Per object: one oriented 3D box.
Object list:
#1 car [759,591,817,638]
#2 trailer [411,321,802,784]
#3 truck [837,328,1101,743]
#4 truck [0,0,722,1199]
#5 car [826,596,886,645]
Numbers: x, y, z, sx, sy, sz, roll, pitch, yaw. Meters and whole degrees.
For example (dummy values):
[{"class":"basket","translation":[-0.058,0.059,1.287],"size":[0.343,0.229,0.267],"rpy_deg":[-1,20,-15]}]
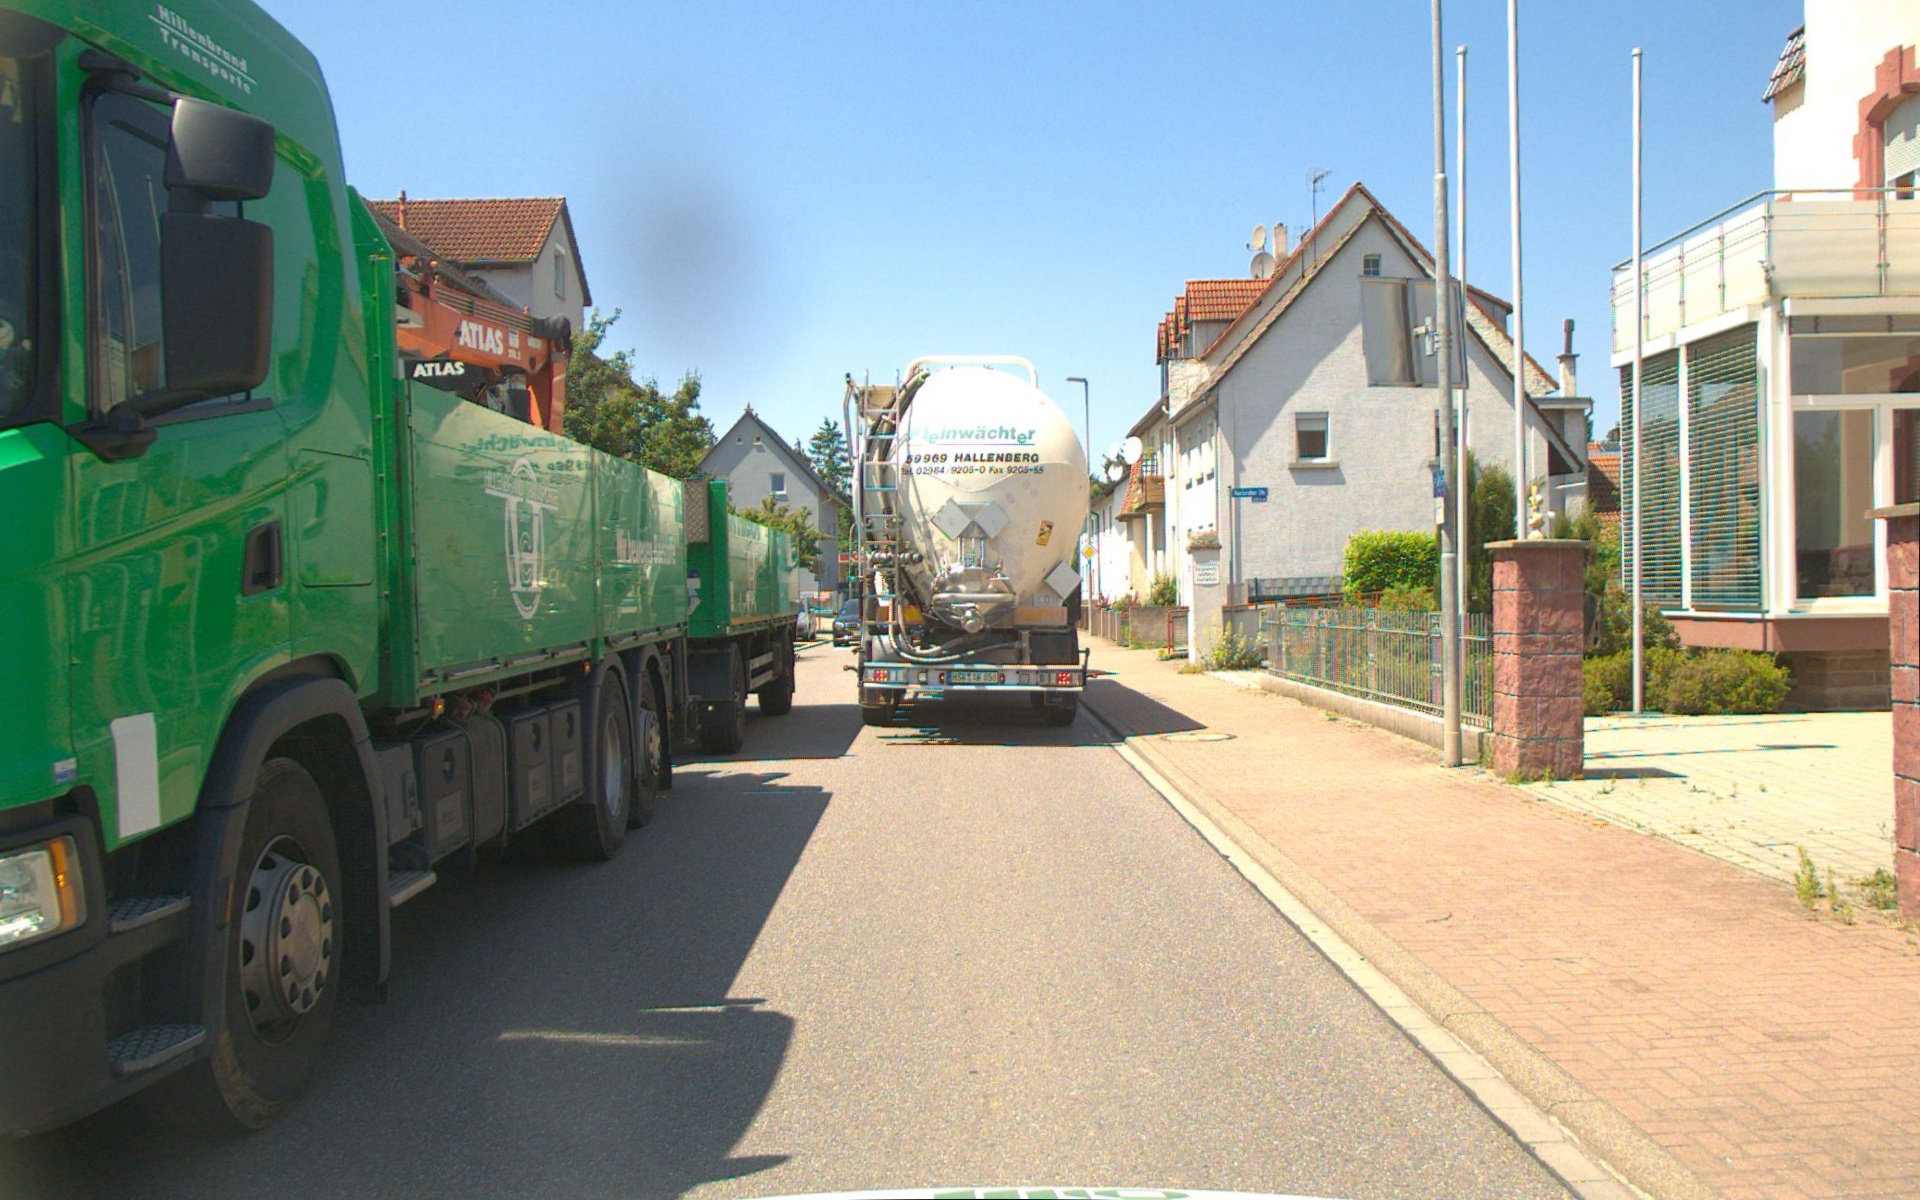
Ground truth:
[{"class":"car","translation":[-6.009,0.486,58.246],"size":[1.663,1.608,3.837],"rpy_deg":[0,0,-1]},{"class":"trailer","translation":[-3.272,-0.413,17.689],"size":[2.479,3.712,8.459],"rpy_deg":[-1,0,-1]},{"class":"truck","translation":[0.003,-0.660,21.148],"size":[2.587,4.086,9.559],"rpy_deg":[0,0,-1]},{"class":"truck","translation":[-3.145,-0.422,8.403],"size":[2.515,3.765,10.075],"rpy_deg":[-2,0,-1]},{"class":"car","translation":[-3.362,0.637,54.362],"size":[1.695,1.486,4.693],"rpy_deg":[-2,0,-1]}]
